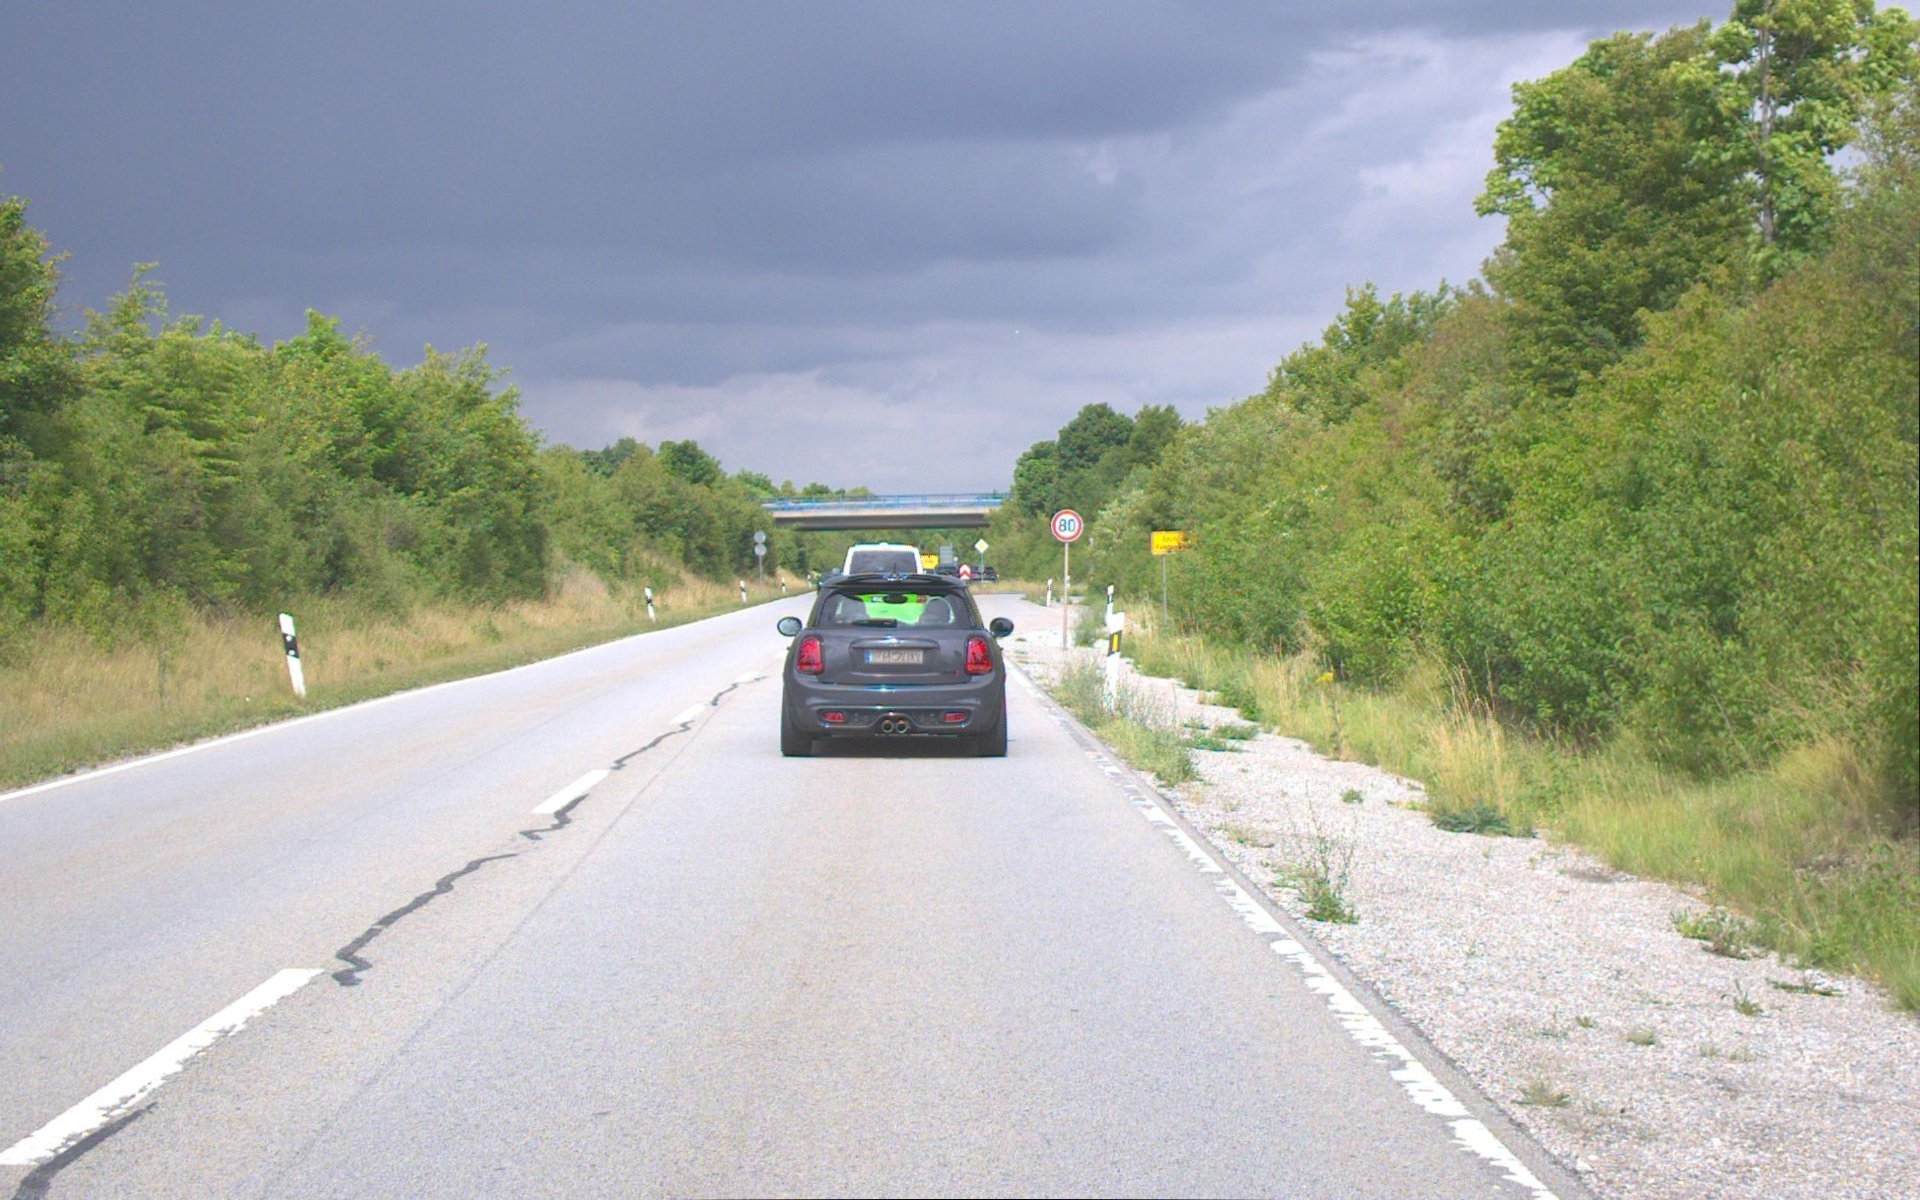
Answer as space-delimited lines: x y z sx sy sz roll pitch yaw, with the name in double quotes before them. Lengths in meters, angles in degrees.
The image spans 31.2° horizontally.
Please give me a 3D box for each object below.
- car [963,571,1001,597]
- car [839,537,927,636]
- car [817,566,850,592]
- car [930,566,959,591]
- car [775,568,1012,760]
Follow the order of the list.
"car" 1.314 -0.950 205.529 1.993 1.547 4.000 1 0 -3
"car" -1.645 -0.299 73.812 1.819 2.047 4.000 1 0 -1
"car" -6.793 -1.123 184.702 1.701 1.326 4.000 -1 0 -1
"car" -1.067 -1.462 231.766 1.780 1.700 4.000 0 0 -3
"car" -0.533 0.463 27.724 1.756 1.422 4.000 1 0 -1
